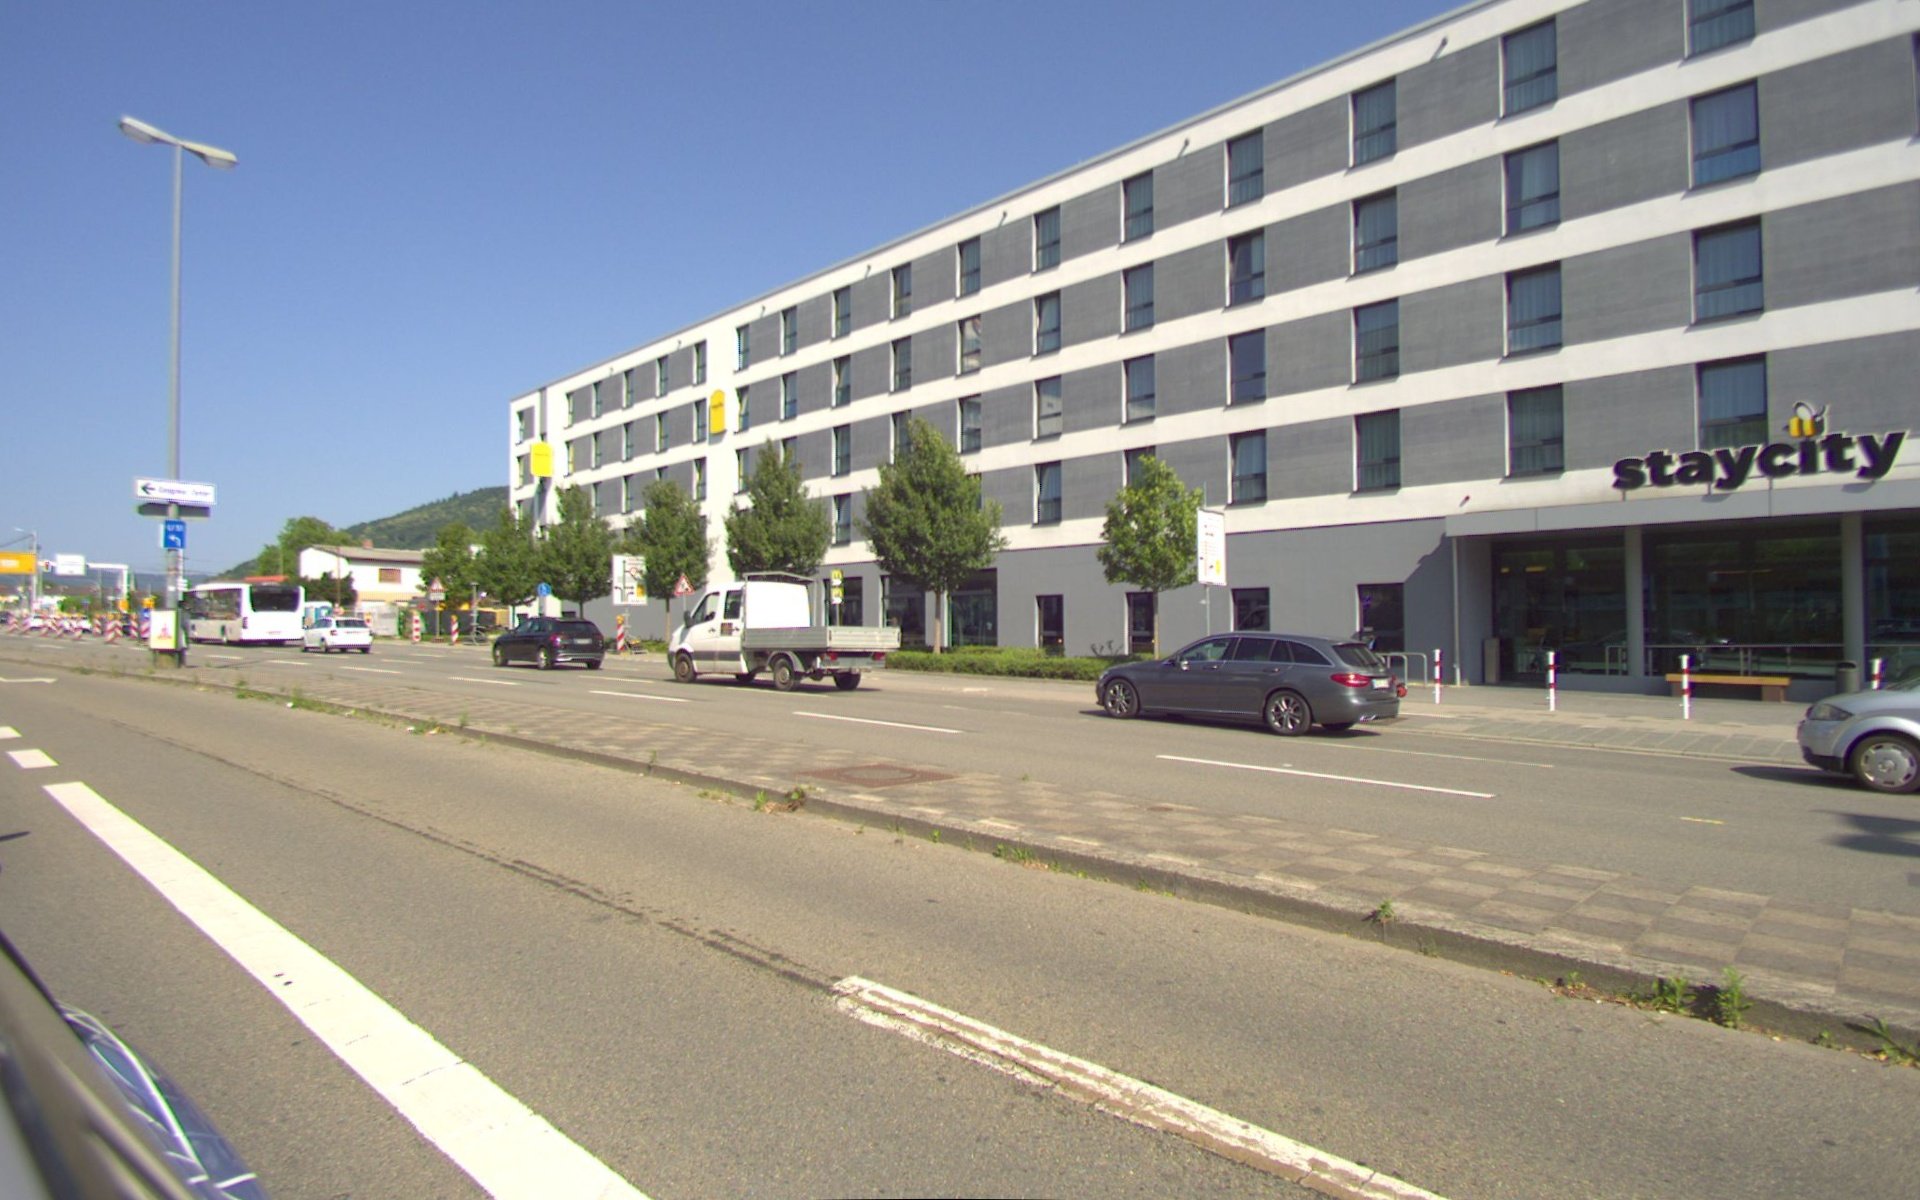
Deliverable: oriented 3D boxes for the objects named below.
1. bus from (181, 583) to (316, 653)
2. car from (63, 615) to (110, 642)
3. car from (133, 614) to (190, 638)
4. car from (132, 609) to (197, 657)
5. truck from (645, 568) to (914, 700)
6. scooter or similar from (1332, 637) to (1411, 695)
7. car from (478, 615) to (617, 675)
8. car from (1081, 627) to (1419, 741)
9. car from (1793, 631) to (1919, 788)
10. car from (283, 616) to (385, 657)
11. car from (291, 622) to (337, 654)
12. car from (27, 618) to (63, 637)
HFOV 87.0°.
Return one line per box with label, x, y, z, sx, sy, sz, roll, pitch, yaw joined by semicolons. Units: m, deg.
bus;-35.524;0.888;50.252;11.971;3.102;2.709;-1;-3;42
car;-69.968;2.262;81.071;3.993;2.029;1.975;-1;-4;37
car;-50.170;1.627;63.573;4.889;1.443;1.972;-1;-1;42
car;-36.086;1.459;45.874;4.164;2.029;1.657;0;1;42
truck;-4.201;0.674;22.664;6.434;2.564;2.332;1;-3;41
scooter or similar;8.641;1.371;21.272;0.347;1.121;1.519;1;0;-45
car;-12.287;1.264;30.038;4.408;1.590;1.974;0;0;40
car;4.276;1.170;15.421;4.586;1.438;1.934;-1;-3;44
car;10.306;1.052;9.353;3.916;1.449;1.752;-1;-3;44
car;-25.462;1.479;41.115;4.405;1.497;1.975;0;-3;37
car;-26.170;1.520;40.991;2.220;1.216;1.044;0;1;43
car;-81.372;2.445;89.981;3.586;1.631;1.698;-1;-1;37
